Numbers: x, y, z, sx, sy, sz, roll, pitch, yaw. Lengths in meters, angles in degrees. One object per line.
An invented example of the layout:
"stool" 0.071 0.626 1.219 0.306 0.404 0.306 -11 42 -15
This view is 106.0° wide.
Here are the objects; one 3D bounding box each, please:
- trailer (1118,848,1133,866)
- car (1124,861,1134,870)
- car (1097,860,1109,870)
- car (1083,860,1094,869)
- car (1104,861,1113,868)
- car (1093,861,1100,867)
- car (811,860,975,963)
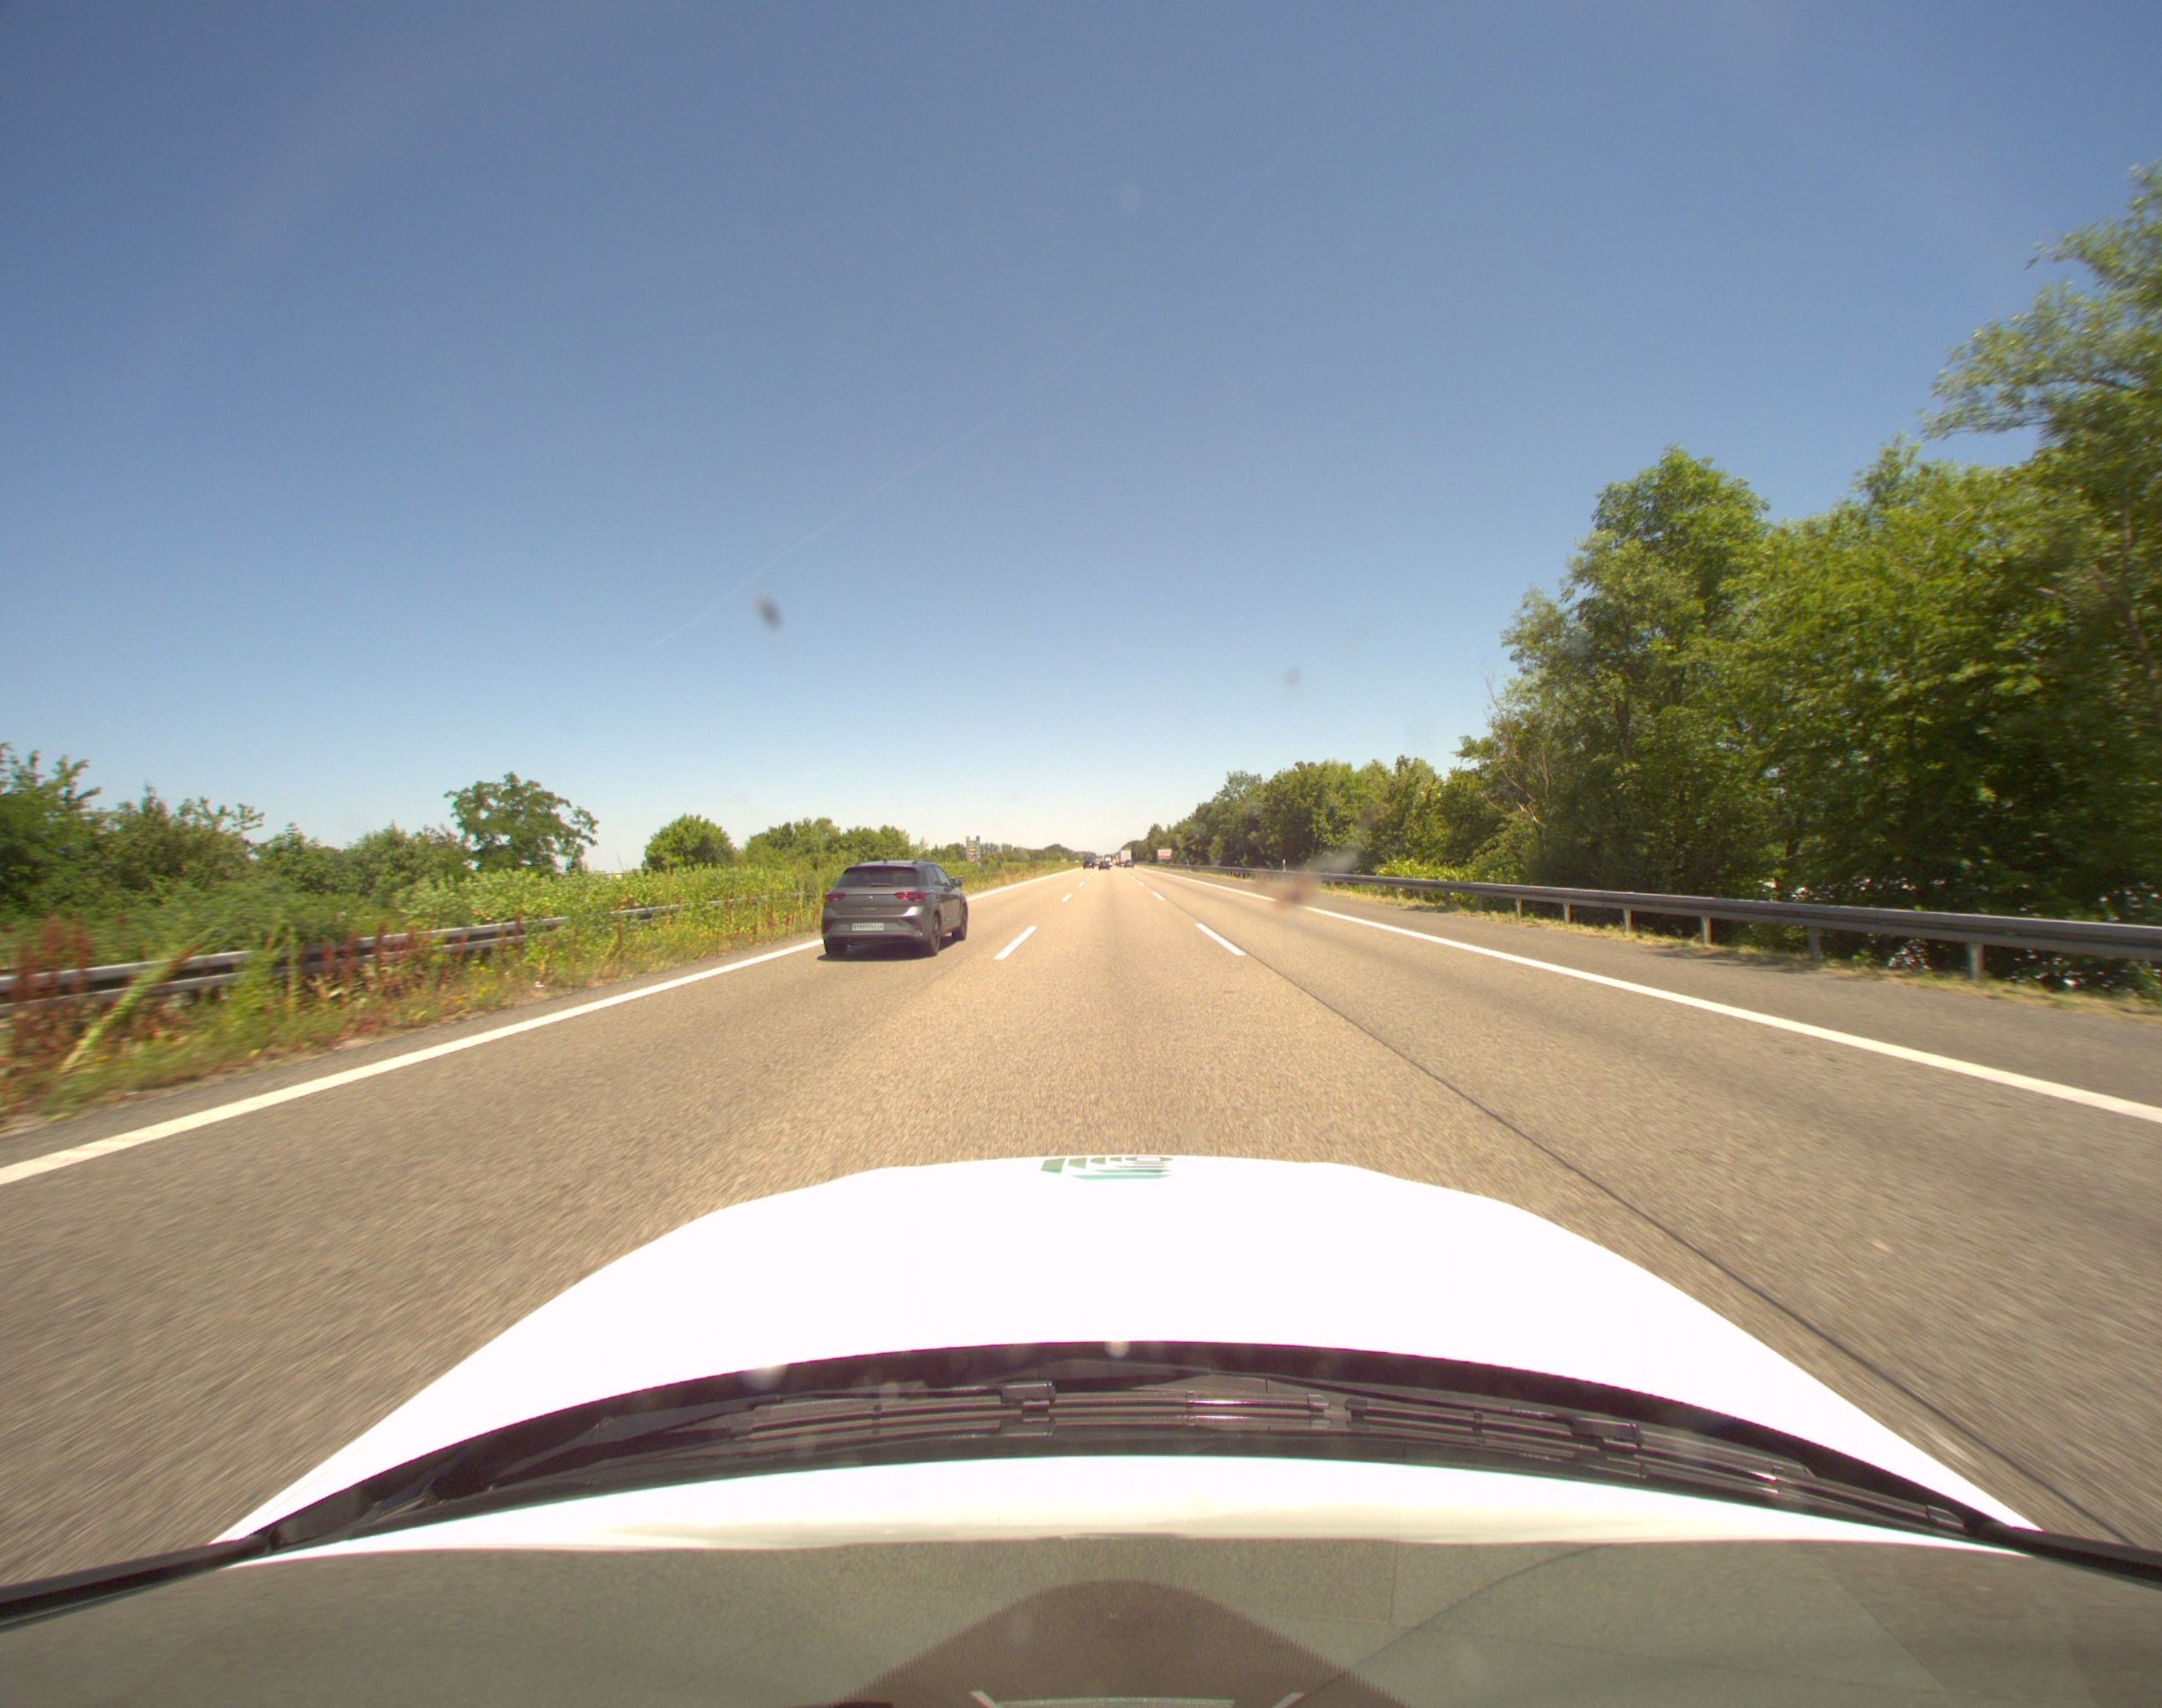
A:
"trailer" 10.577 0.841 194.486 3.421 4.181 13.637 -1 -1 2
"car" 9.587 2.310 161.710 1.838 1.629 4.137 -2 -1 2
"car" 3.498 1.645 127.274 1.893 1.531 4.085 0 0 2
"car" 1.374 1.975 151.622 1.900 1.531 4.287 0 0 2
"car" 6.027 2.298 175.711 1.893 1.531 4.085 0 0 2
"car" 4.153 2.708 218.776 1.900 1.531 4.287 0 0 2
"car" -3.117 0.878 14.418 1.752 1.531 4.287 0 0 2
